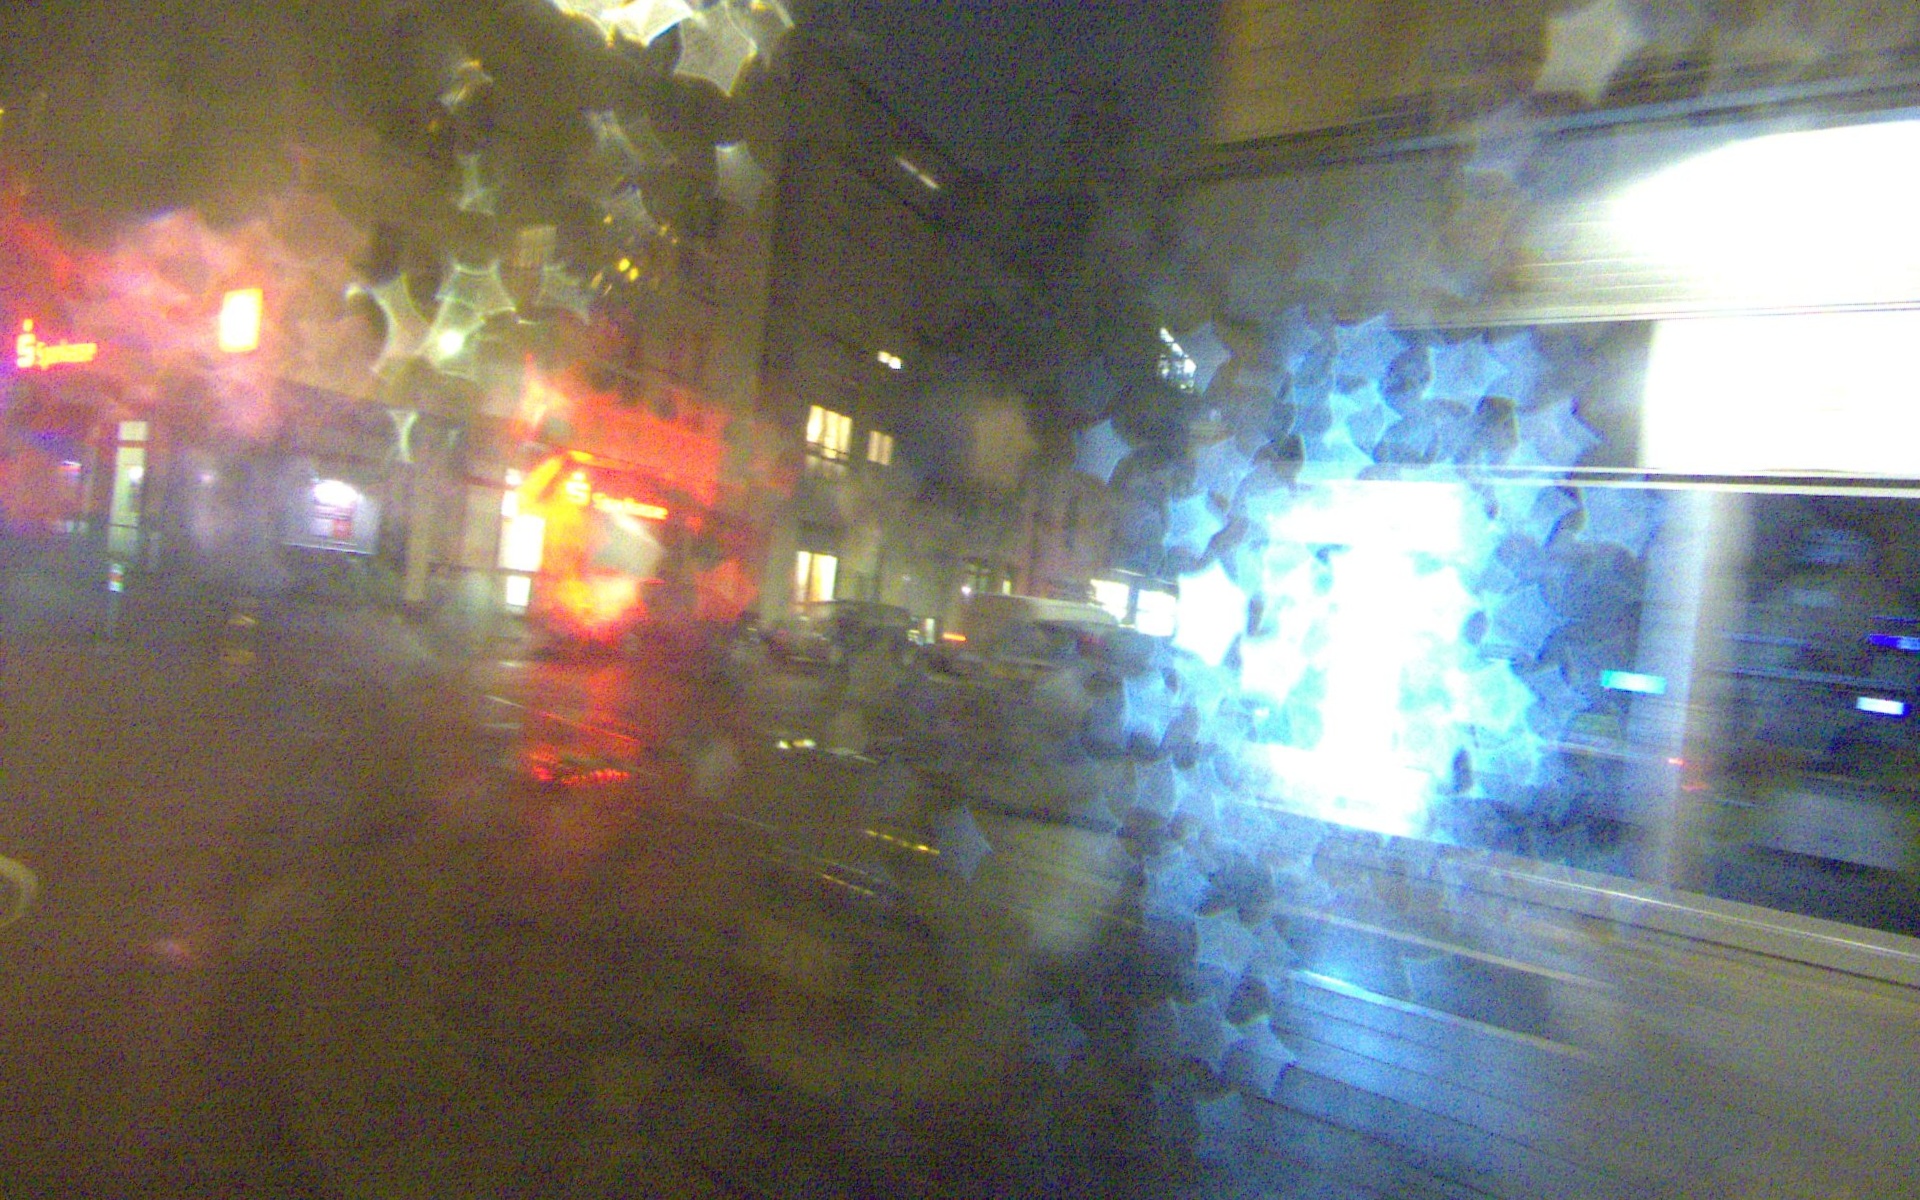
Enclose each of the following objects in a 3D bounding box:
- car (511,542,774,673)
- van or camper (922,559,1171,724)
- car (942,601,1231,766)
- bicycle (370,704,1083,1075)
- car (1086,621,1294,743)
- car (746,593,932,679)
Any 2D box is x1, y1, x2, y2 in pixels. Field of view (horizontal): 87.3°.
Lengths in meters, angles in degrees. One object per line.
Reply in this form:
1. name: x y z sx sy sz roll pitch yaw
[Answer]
1. car: -5.514 0.212 17.990 1.812 1.790 4.153 7 -2 32
2. van or camper: 1.811 0.903 18.685 2.085 2.425 5.325 6 -3 34
3. car: 1.718 1.037 12.327 1.864 1.502 3.994 7 -2 32
4. bicycle: -0.700 0.905 3.494 2.248 0.905 0.614 6 1 -30
5. car: 3.854 1.388 16.332 1.967 1.524 3.996 6 -3 32
6. car: -2.600 0.855 22.538 1.812 1.450 4.153 7 -2 32
